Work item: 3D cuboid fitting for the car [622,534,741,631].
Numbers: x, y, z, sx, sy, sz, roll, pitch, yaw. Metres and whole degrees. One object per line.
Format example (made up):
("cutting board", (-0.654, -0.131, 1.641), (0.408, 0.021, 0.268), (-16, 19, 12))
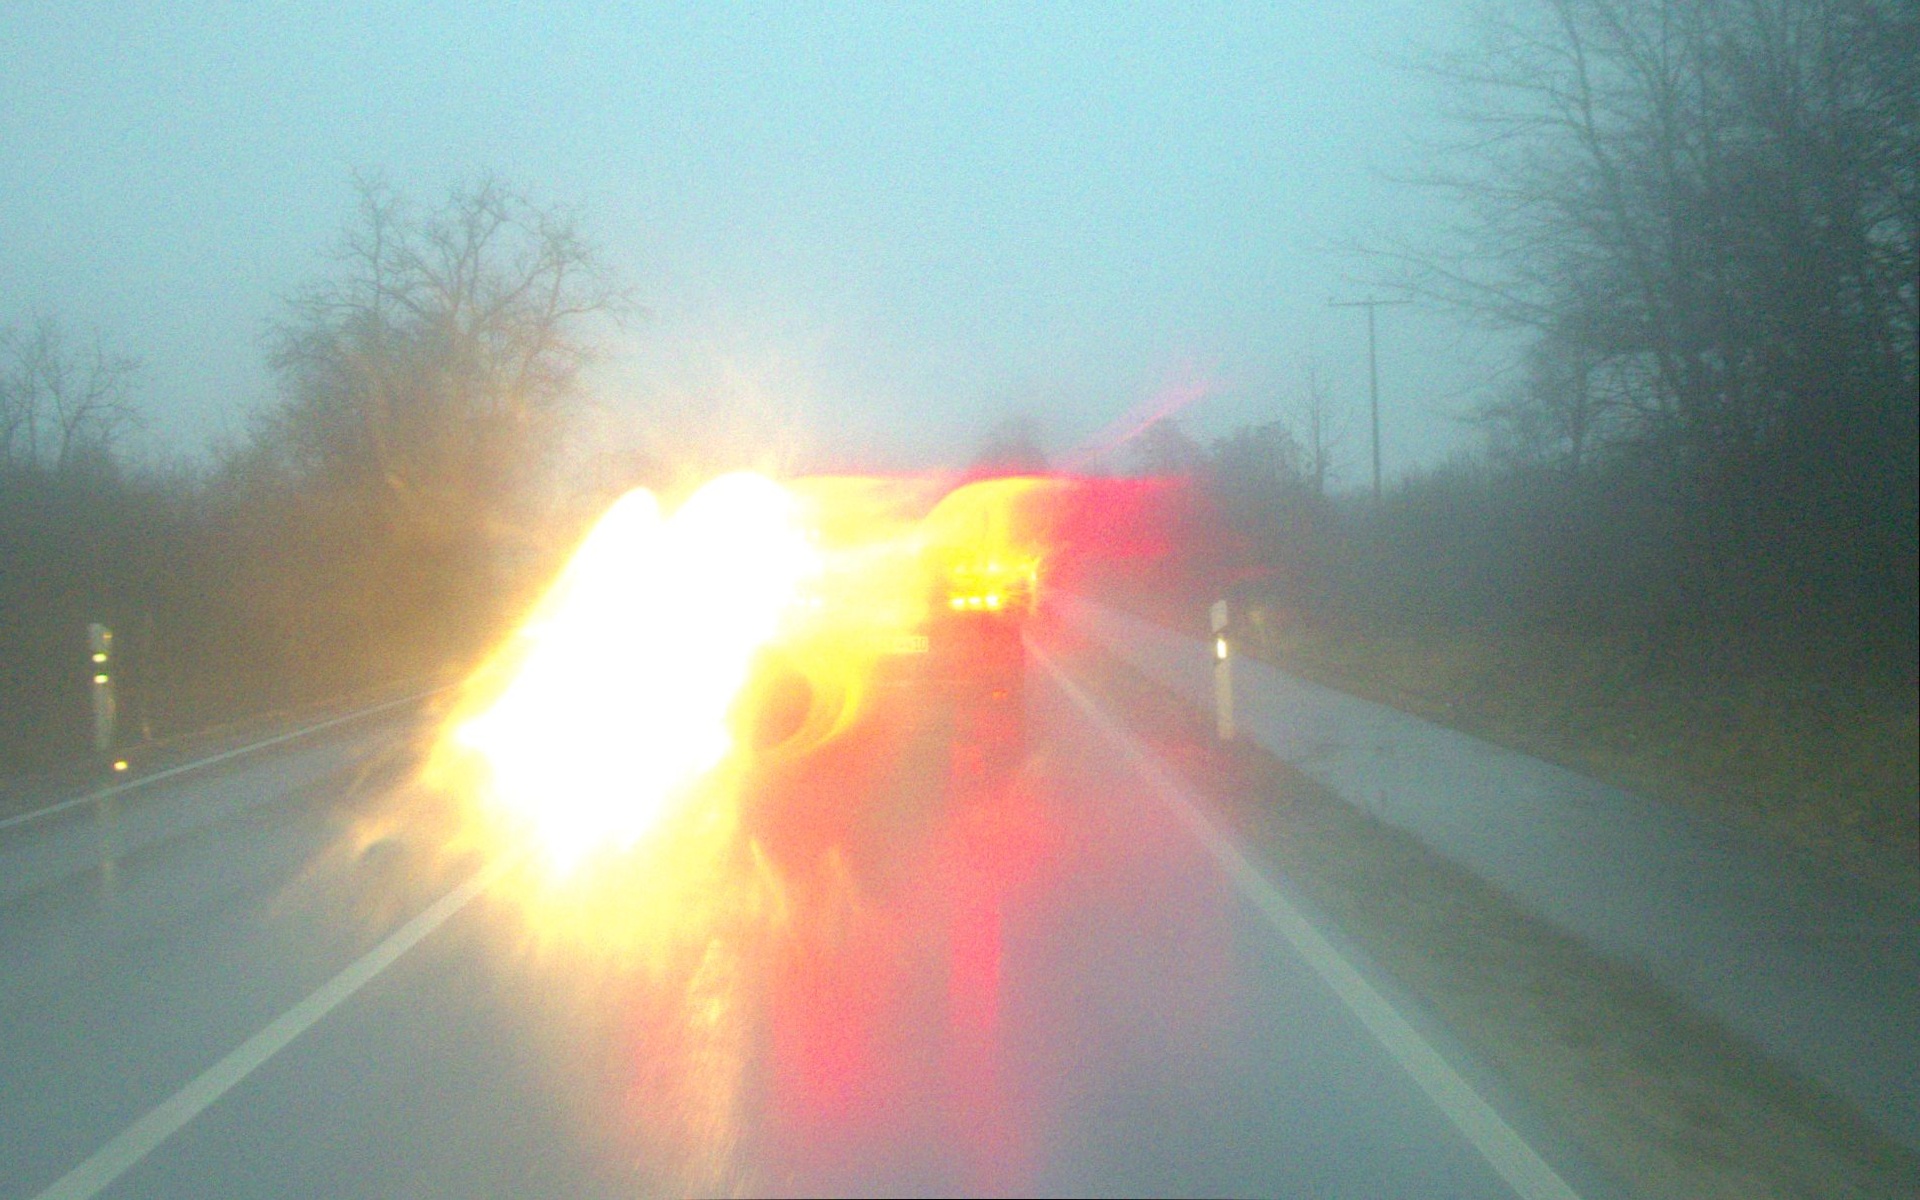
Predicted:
("car", (-4.510, -0.306, 56.094), (1.632, 1.452, 3.983), (-3, 1, -1))

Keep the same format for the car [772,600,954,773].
("car", (-1.085, 0.954, 40.051), (1.993, 1.843, 4.000), (1, 1, 0))

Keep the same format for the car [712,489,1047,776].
("car", (-0.530, 0.162, 24.300), (2.120, 1.813, 4.980), (0, 1, 0))
